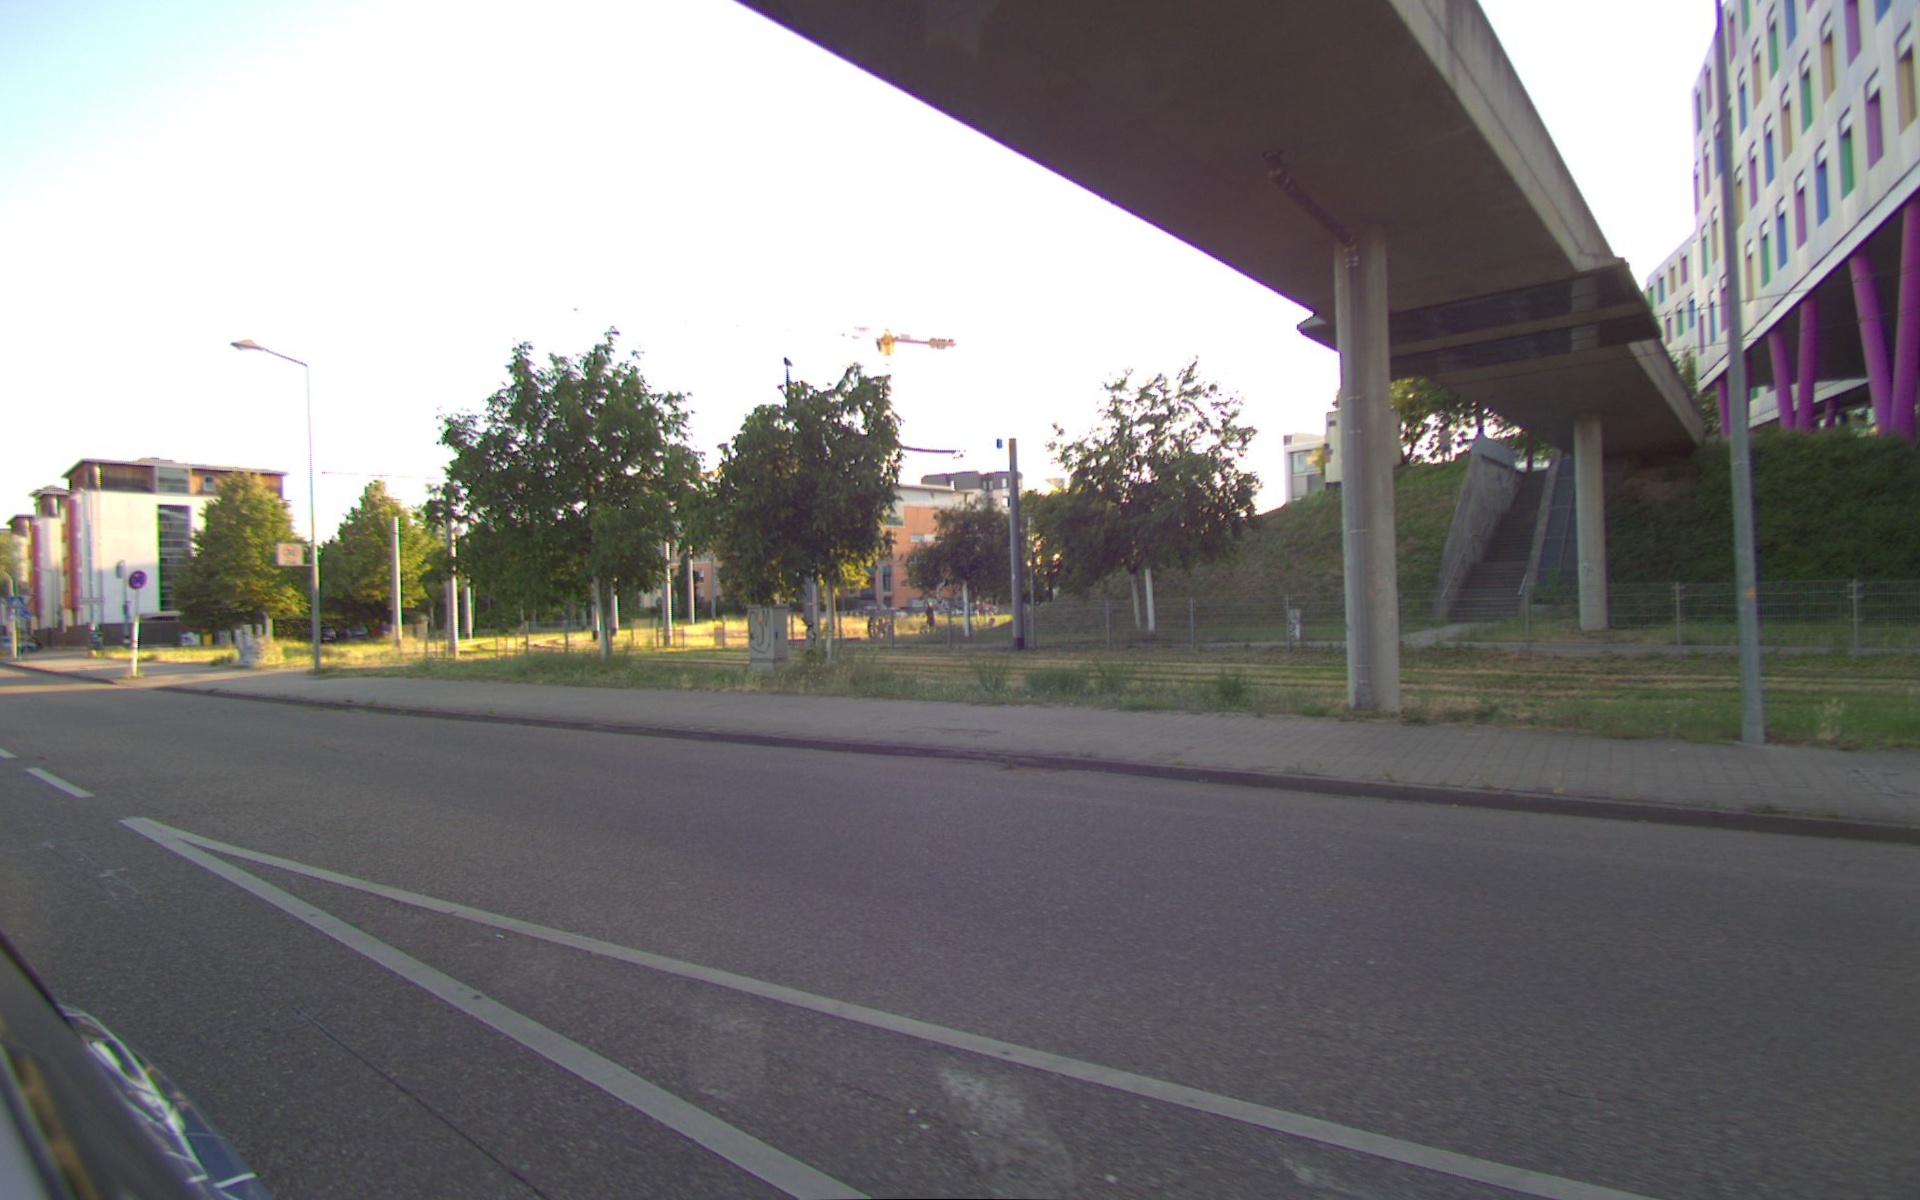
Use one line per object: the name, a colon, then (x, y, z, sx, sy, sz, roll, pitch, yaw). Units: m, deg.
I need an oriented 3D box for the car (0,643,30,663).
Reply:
car: (-74.741, 4.098, 78.090, 1.679, 1.469, 4.236, -3, -4, 40)

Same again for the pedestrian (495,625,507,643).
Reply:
pedestrian: (-42.400, 3.166, 93.406, 0.655, 1.612, 0.704, -2, 1, 36)

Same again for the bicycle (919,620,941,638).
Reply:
bicycle: (-1.613, 1.529, 53.787, 0.431, 0.907, 1.219, -4, -2, 41)

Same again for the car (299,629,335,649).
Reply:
car: (-51.151, 3.108, 80.481, 3.412, 1.533, 1.666, -2, -1, 45)

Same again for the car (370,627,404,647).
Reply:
car: (-47.344, 3.050, 83.581, 3.412, 1.511, 1.571, -2, -1, 45)

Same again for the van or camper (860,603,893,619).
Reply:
van or camper: (-9.973, 1.300, 120.178, 1.808, 1.707, 3.881, -1, -2, -45)

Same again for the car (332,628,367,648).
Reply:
car: (-49.423, 3.077, 81.886, 3.412, 1.511, 1.571, -2, -1, 45)

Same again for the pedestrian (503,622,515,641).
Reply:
pedestrian: (-41.596, 2.906, 93.326, 0.623, 1.679, 0.734, -2, 1, 38)

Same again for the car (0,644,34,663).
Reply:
car: (-76.913, 4.238, 80.282, 1.709, 1.489, 4.852, -3, -4, 40)

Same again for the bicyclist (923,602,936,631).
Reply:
bicyclist: (-1.628, 0.864, 53.821, 0.424, 1.506, 0.507, -4, -2, 43)

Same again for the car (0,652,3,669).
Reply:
car: (-87.831, 5.506, 89.920, 1.722, 1.527, 3.871, -3, -1, 38)
